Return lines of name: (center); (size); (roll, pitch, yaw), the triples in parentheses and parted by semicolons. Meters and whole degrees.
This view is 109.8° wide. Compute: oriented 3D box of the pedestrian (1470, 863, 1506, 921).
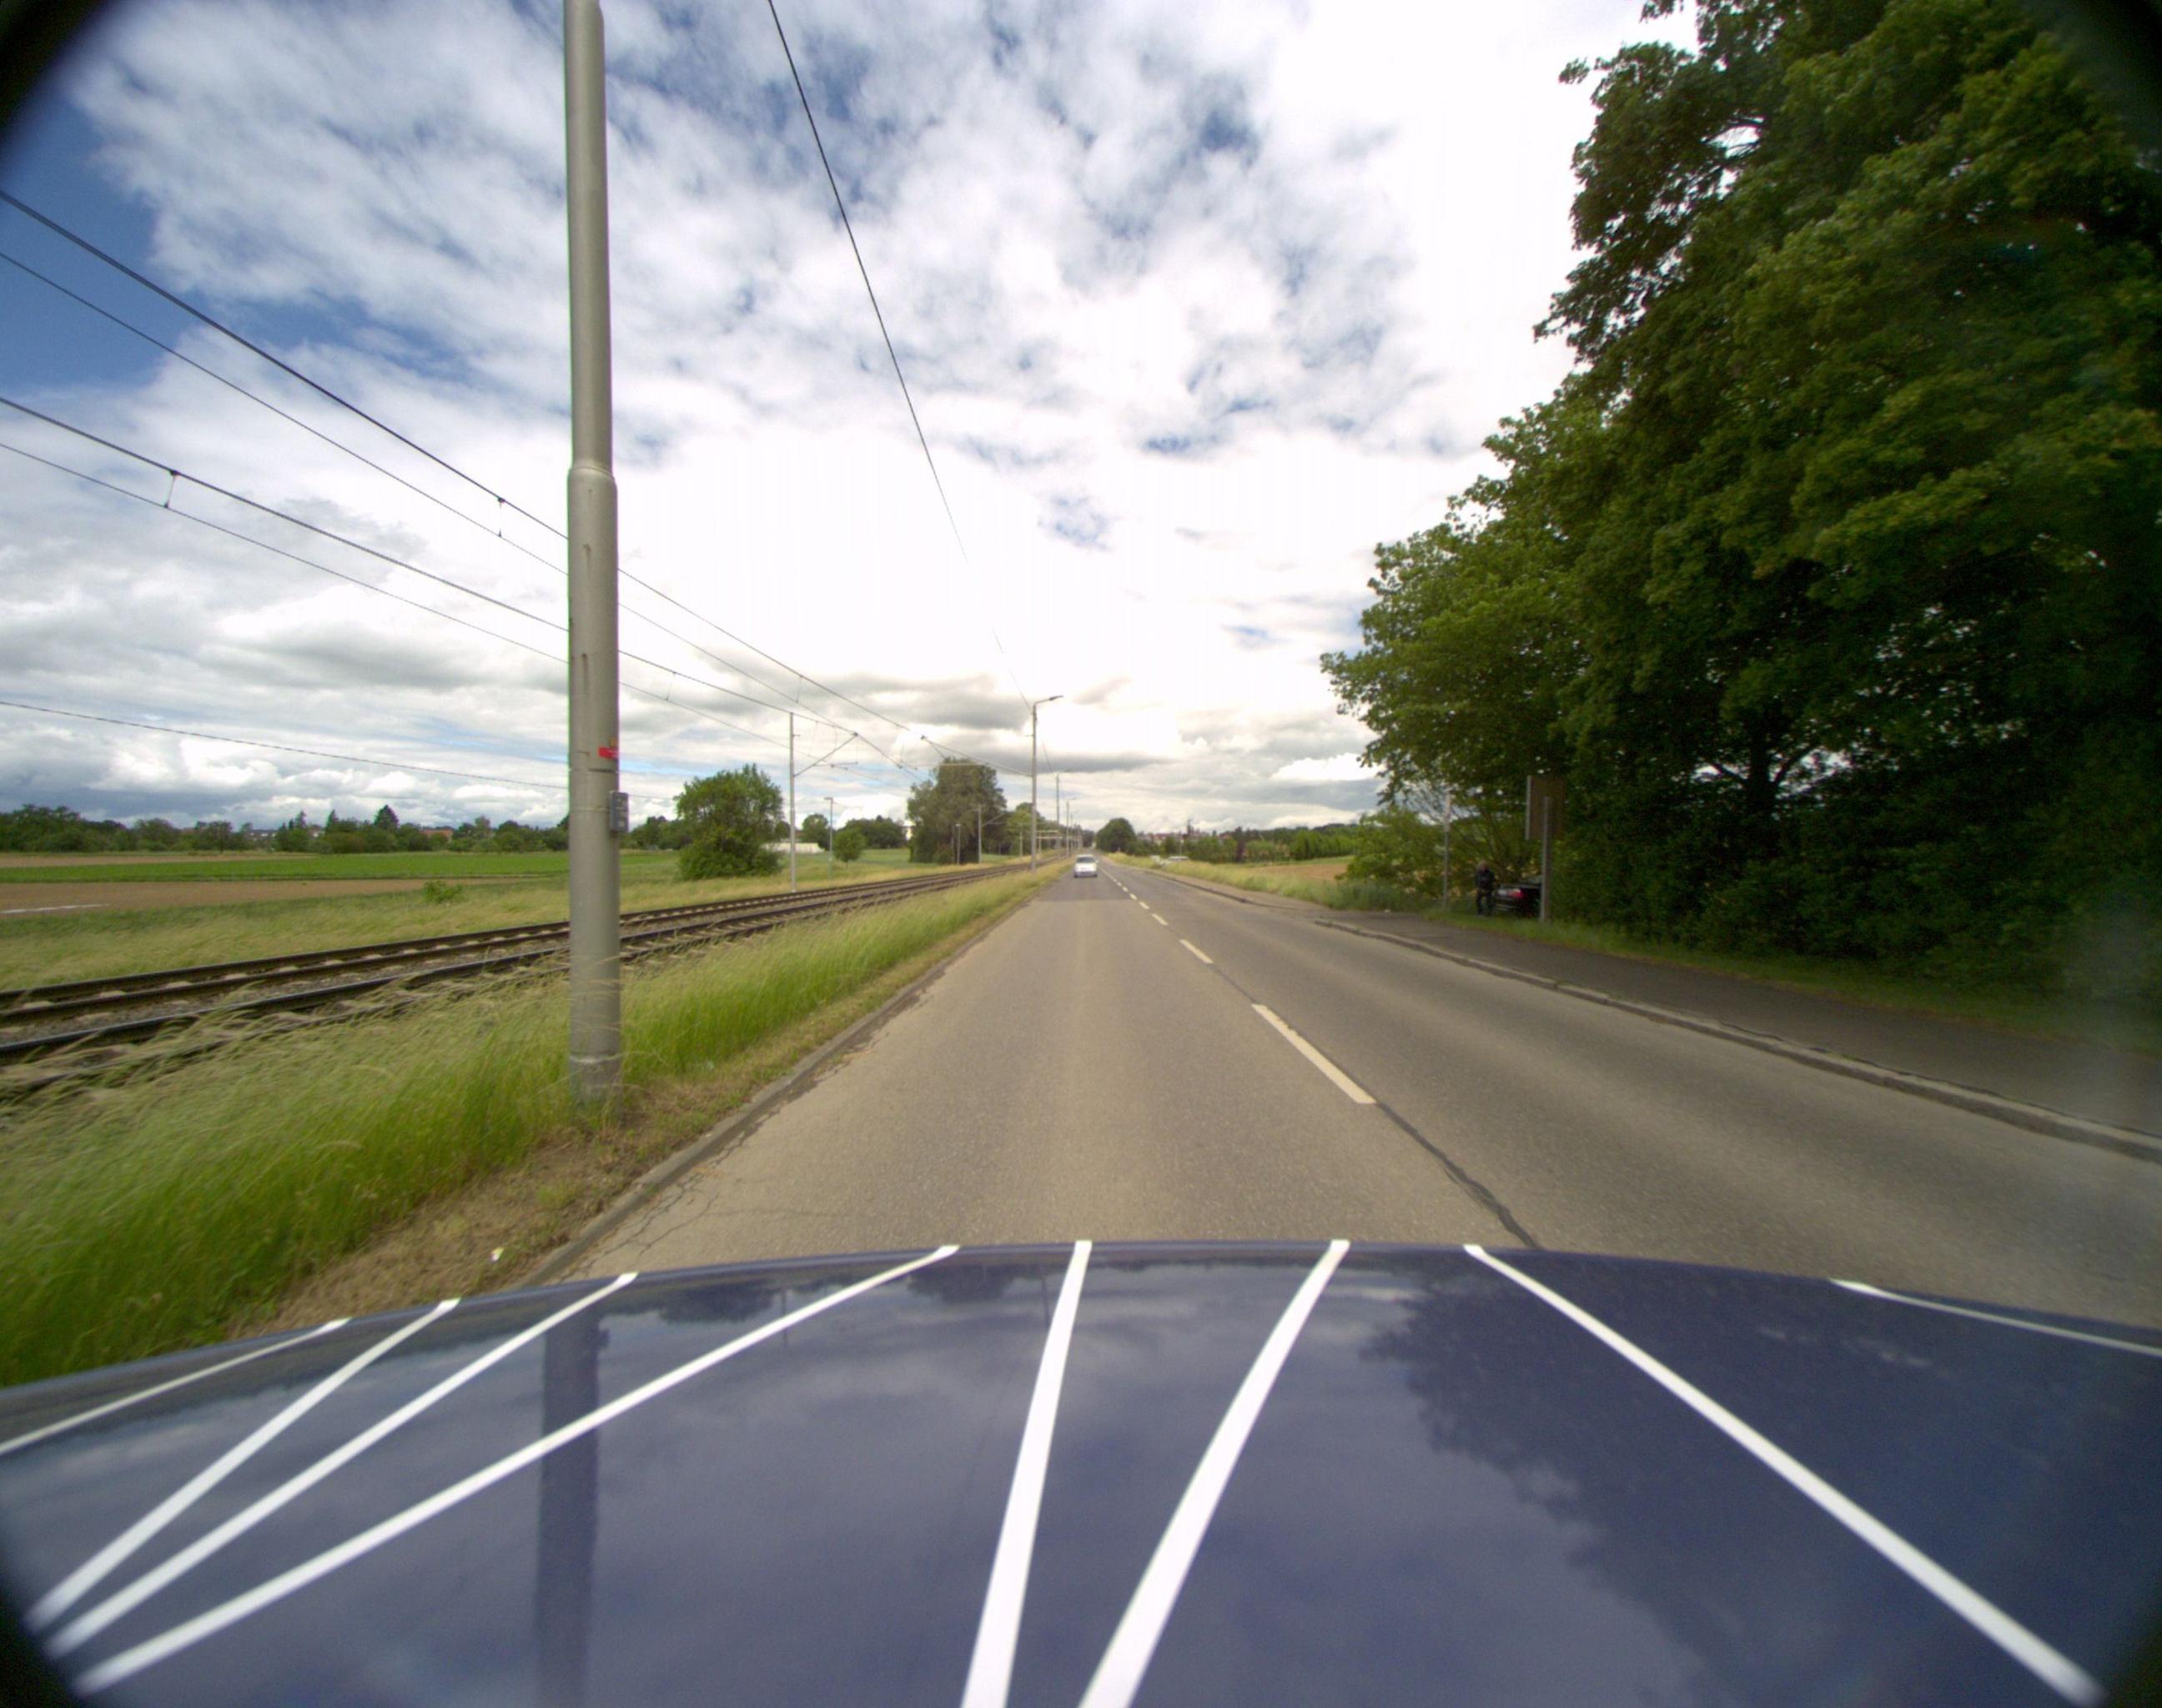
pedestrian: (11.390, 1.045, 21.282); (0.706, 1.584, 0.707); (0, -1, 11)

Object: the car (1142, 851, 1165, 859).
car: (11.533, 0.175, 120.988); (3.216, 1.244, 1.455); (-1, 1, 29)

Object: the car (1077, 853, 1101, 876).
car: (0.572, 0.756, 55.382); (1.643, 1.510, 3.868); (-2, 1, 1)

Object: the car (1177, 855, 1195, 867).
car: (11.216, 0.736, 81.412); (1.452, 1.244, 3.599); (-2, 1, 1)

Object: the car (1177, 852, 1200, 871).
car: (9.110, 0.599, 64.676); (1.472, 1.439, 3.868); (-2, 1, 1)

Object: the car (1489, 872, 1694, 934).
car: (13.084, 1.223, 19.702); (3.994, 1.304, 1.745); (2, 1, 8)
